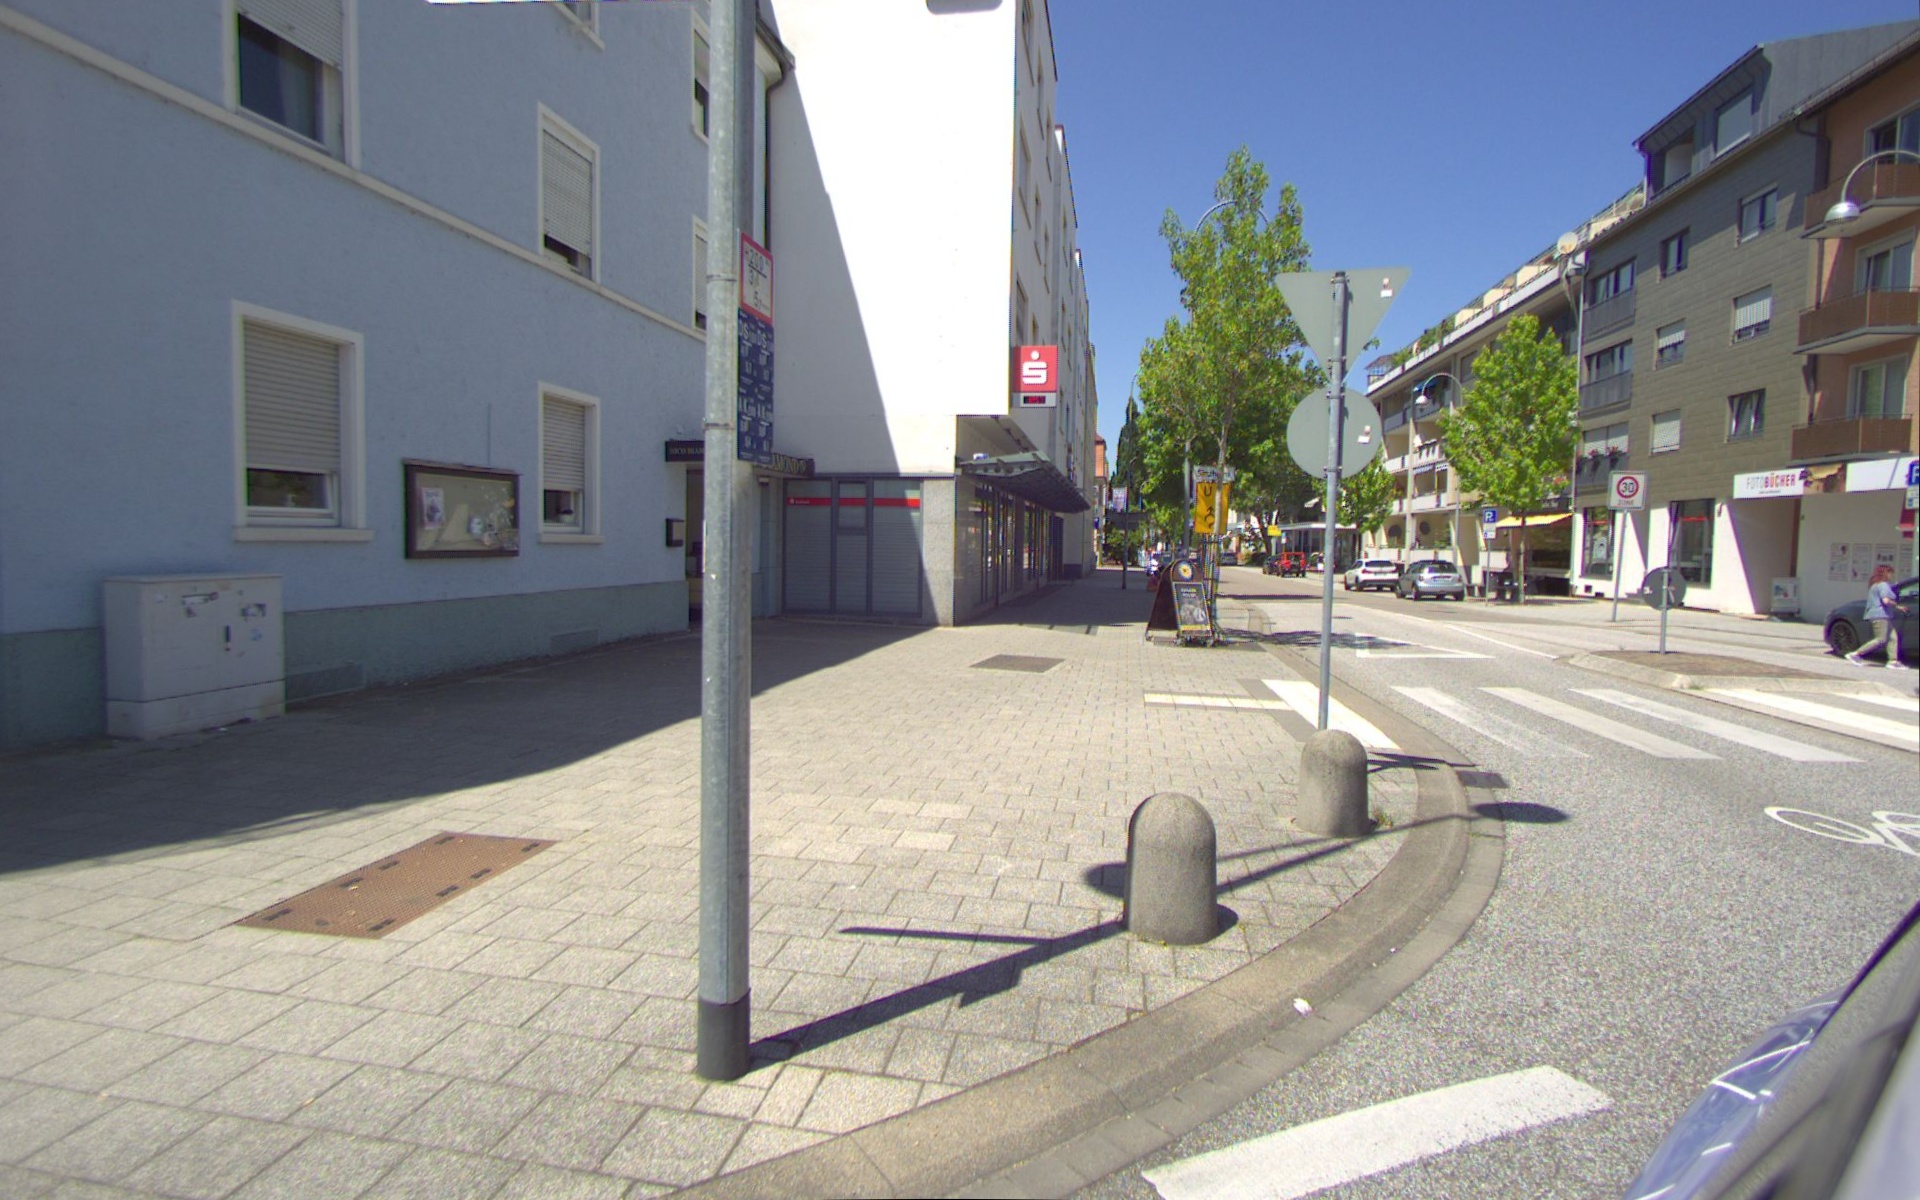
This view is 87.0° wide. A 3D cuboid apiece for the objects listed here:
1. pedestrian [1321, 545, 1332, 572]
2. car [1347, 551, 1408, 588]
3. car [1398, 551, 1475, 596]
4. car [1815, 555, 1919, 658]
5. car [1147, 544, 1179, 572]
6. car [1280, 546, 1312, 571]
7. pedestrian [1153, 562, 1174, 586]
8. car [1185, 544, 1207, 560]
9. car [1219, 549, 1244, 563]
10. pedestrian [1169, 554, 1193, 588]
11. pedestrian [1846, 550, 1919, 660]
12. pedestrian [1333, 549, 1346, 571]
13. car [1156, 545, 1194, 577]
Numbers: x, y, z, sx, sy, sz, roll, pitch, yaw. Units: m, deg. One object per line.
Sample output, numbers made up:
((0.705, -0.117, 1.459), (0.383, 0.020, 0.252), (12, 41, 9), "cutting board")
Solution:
((25.069, -2.850, 69.226), (0.661, 1.826, 0.680), (2, 3, 25), "pedestrian")
((19.375, -1.466, 47.149), (1.673, 1.611, 4.289), (1, 3, 10), "car")
((17.317, -1.001, 36.915), (1.601, 1.491, 3.540), (1, 3, 10), "car")
((15.508, 0.101, 15.521), (1.643, 1.504, 4.056), (-1, 3, 6), "car")
((13.102, -2.729, 65.421), (1.665, 1.742, 4.128), (1, 3, 7), "car")
((23.368, -2.930, 70.391), (1.619, 1.682, 3.362), (-1, 3, 10), "car")
((7.856, -1.015, 39.119), (0.672, 0.862, 0.534), (3, 3, 23), "pedestrian")
((27.217, -5.582, 116.628), (1.874, 1.775, 4.750), (2, 3, 7), "car")
((29.749, -4.806, 110.928), (1.965, 1.437, 3.996), (1, 3, 5), "car")
((8.409, -1.091, 38.508), (0.755, 1.255, 0.533), (3, 3, 25), "pedestrian")
((14.126, 0.056, 15.464), (0.729, 1.629, 0.553), (3, 3, 31), "pedestrian")
((25.968, -2.726, 69.278), (0.770, 1.517, 0.692), (2, 3, 22), "pedestrian")
((12.665, -2.330, 59.813), (1.665, 1.742, 3.995), (4, 3, 6), "car")
